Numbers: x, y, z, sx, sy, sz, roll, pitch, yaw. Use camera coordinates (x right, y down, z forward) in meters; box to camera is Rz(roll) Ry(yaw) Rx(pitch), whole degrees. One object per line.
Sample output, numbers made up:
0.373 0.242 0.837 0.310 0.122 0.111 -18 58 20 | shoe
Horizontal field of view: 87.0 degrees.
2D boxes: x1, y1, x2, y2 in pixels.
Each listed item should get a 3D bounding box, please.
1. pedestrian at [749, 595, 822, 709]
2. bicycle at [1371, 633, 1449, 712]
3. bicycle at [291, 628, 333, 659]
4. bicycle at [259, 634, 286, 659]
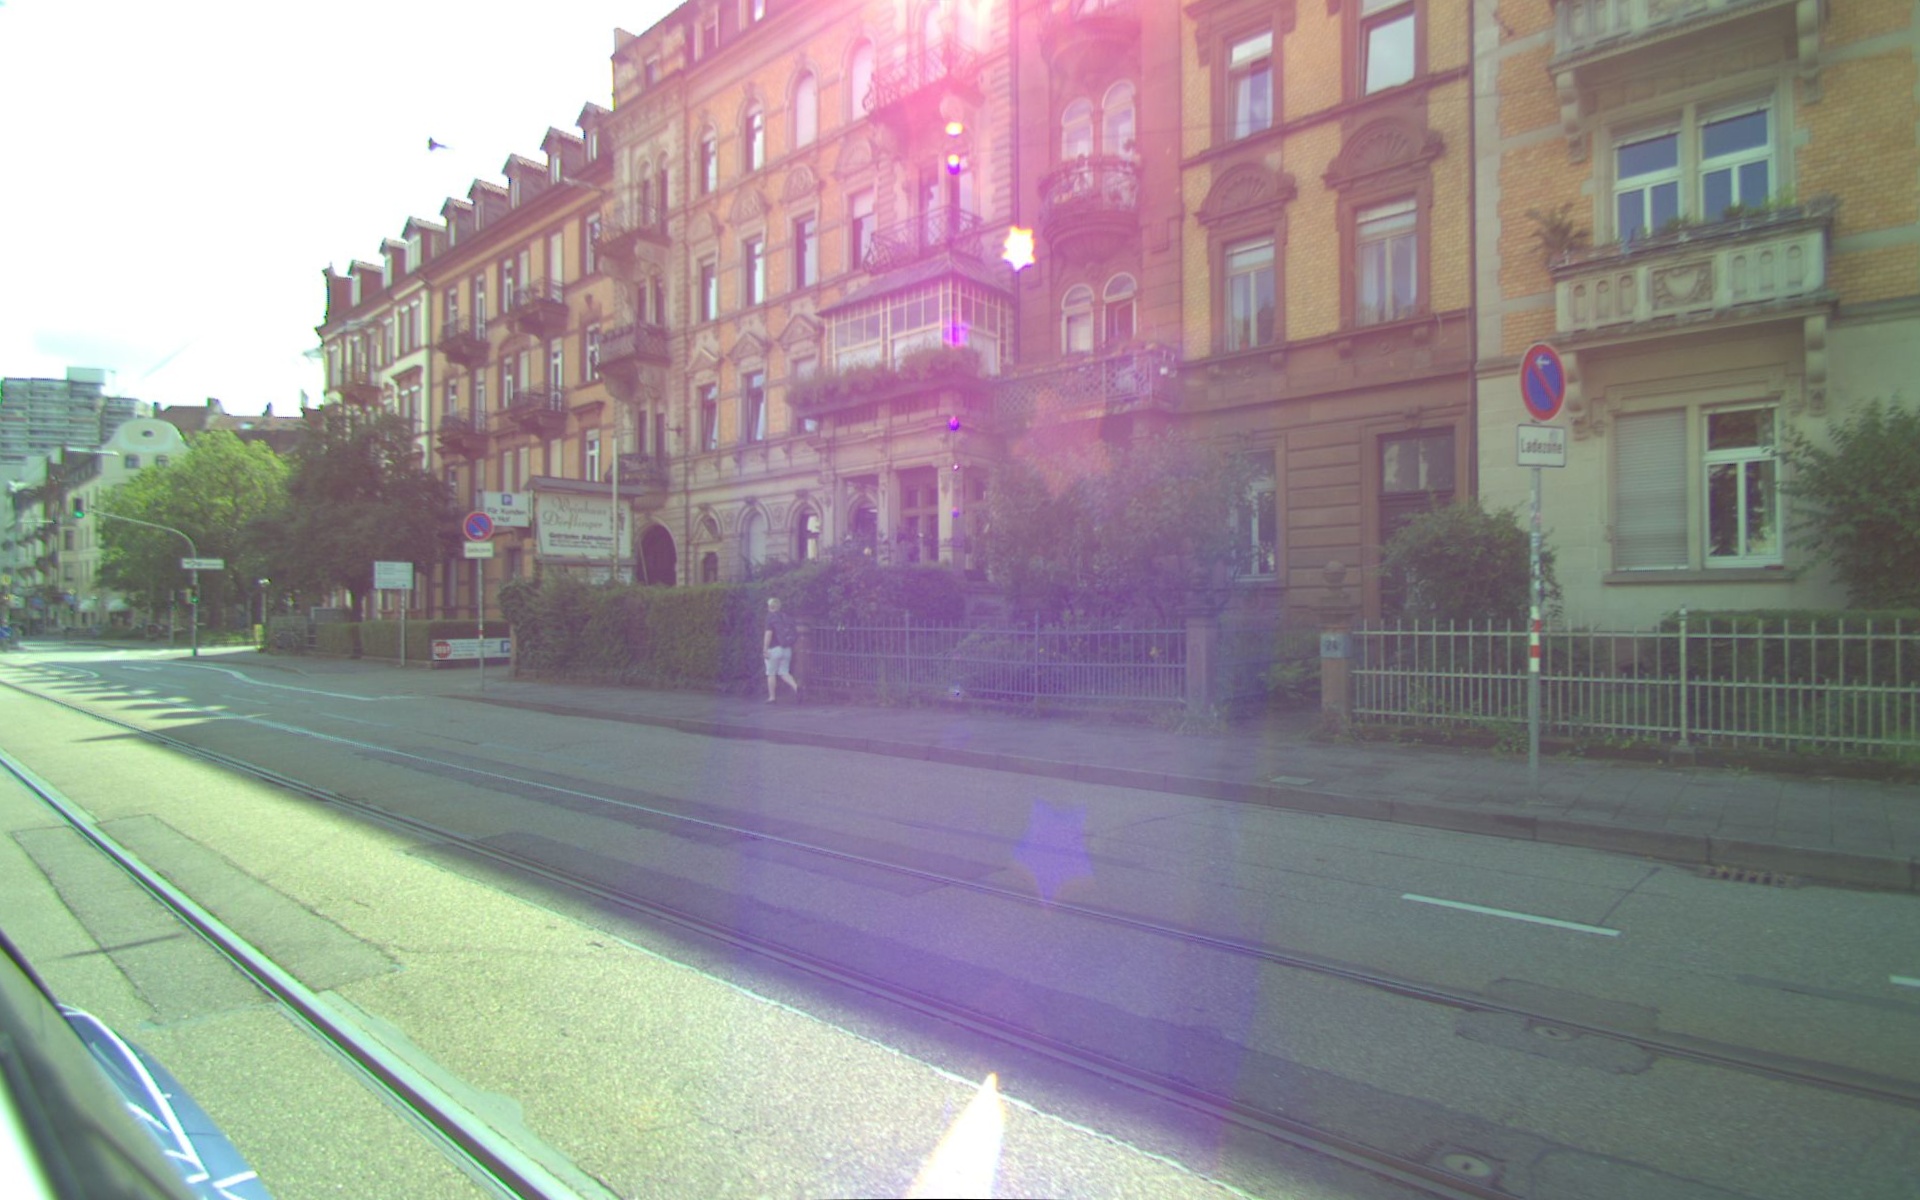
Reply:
-2.734 0.799 15.846 1.150 1.716 0.482 -1 -1 40 | pedestrian
5.952 0.923 13.338 0.422 0.940 1.923 -2 -2 40 | bicycle
-24.986 1.660 39.029 0.496 1.140 1.291 -2 -2 40 | bicycle
-27.092 1.814 39.871 1.826 0.939 0.553 -2 -2 44 | bicycle
